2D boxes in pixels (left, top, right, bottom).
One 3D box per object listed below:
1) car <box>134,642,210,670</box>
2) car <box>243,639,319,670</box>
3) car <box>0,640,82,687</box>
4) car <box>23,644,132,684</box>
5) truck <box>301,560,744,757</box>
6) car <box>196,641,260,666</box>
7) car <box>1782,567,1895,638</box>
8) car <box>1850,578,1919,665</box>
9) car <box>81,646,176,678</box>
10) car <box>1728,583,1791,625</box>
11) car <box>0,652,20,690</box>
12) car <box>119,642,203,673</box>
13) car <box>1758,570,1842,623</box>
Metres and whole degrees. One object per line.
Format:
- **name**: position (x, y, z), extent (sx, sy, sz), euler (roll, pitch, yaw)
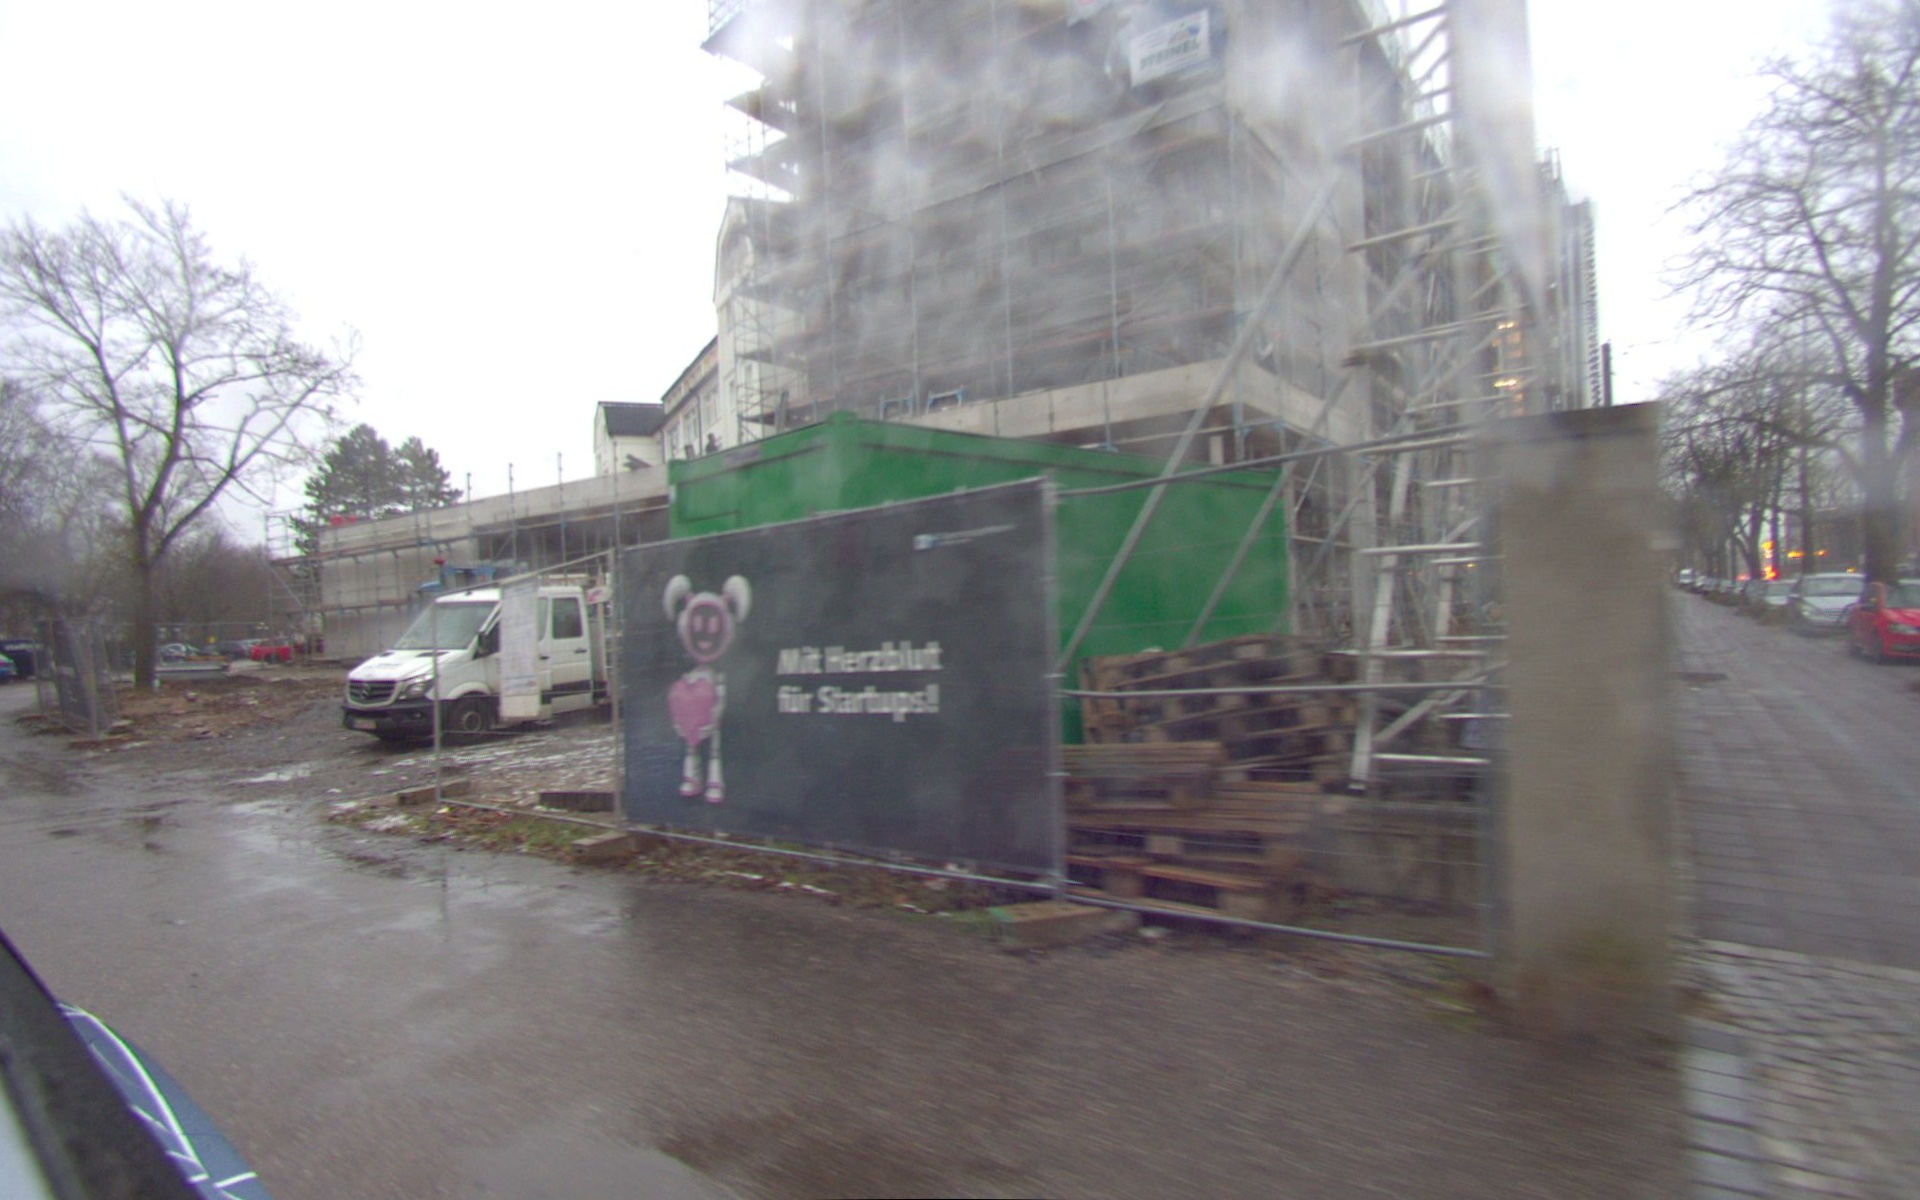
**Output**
- **car**: position (-55.740, 3.940, 71.635), extent (3.931, 1.809, 1.808), euler (-1, -1, -25)
- **car**: position (-36.843, 2.941, 54.976), extent (3.252, 1.535, 1.709), euler (-1, -1, -29)
- **car**: position (-42.943, 2.900, 46.196), extent (3.931, 2.007, 2.006), euler (-1, -1, -25)
- **car**: position (-45.895, 3.297, 52.743), extent (3.931, 1.809, 1.808), euler (-1, -1, -25)
- **truck**: position (-6.769, 0.722, 17.003), extent (2.122, 2.607, 7.016), euler (-2, 0, 27)
- **car**: position (-59.509, 4.326, 82.357), extent (3.931, 1.809, 1.808), euler (-1, -1, -25)
- **car**: position (21.558, 0.061, 24.967), extent (1.751, 1.596, 3.690), euler (-3, -1, 36)
- **car**: position (16.841, 0.313, 17.531), extent (1.751, 1.397, 3.690), euler (-3, -1, 36)
- **car**: position (-49.142, 3.634, 59.918), extent (3.931, 1.674, 2.006), euler (-1, -1, -25)
- **car**: position (32.520, 0.152, 41.249), extent (1.865, 1.606, 3.950), euler (-3, -1, 37)
- **car**: position (-40.797, 2.937, 40.600), extent (4.109, 1.489, 2.006), euler (-1, -4, -28)
- **car**: position (-51.391, 3.687, 65.172), extent (3.931, 1.809, 1.808), euler (-1, -1, -25)
- **car**: position (27.748, -0.108, 33.532), extent (1.865, 1.606, 3.950), euler (-3, -1, 37)
